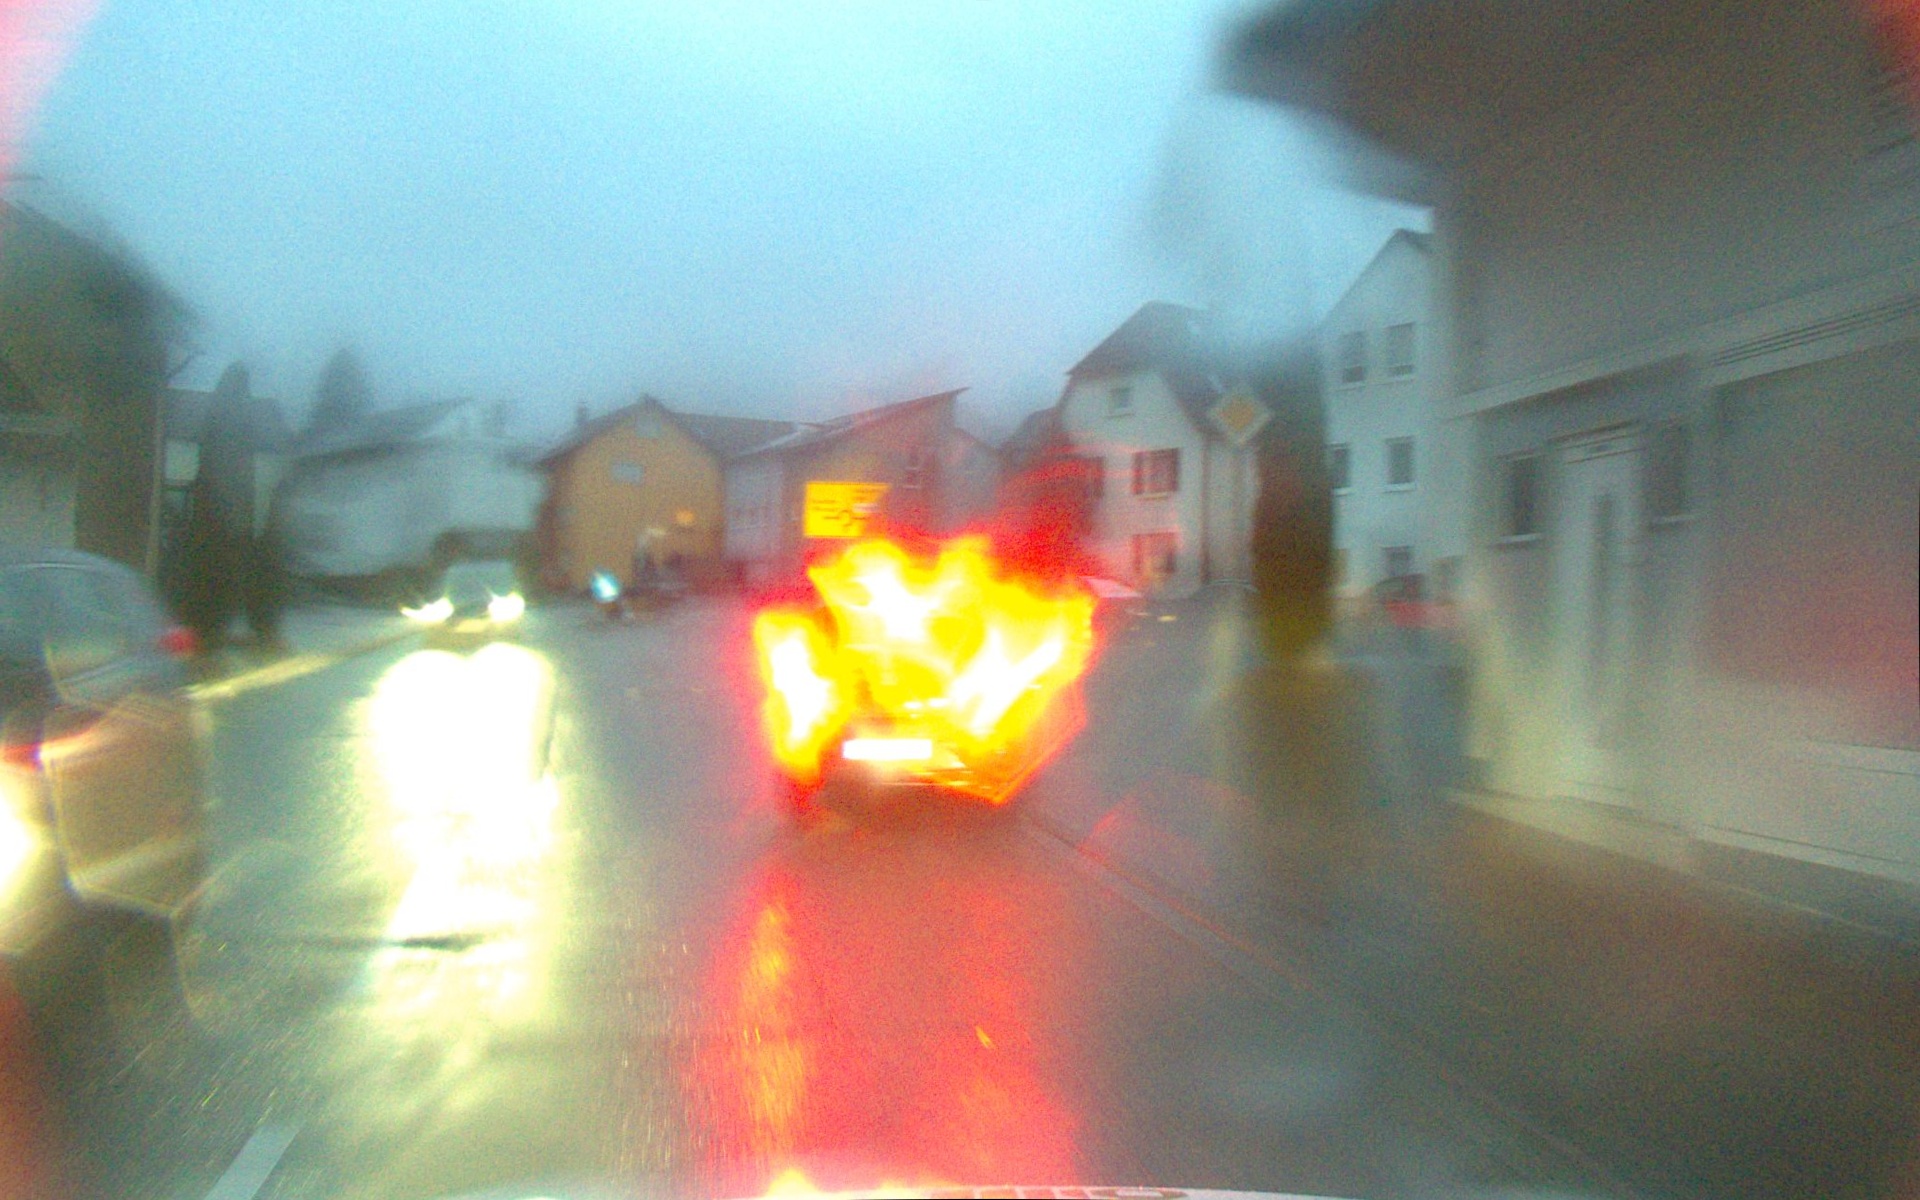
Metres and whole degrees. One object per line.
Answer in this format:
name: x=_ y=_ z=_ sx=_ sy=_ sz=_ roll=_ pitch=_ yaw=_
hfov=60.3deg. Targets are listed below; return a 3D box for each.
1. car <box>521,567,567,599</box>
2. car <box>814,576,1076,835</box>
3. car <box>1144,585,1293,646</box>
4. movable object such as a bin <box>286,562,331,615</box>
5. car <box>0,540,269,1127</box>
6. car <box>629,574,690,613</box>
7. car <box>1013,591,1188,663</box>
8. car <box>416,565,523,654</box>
car: x=-23.797 y=-0.991 z=94.522 sx=1.966 sy=1.672 sz=3.973 roll=2 pitch=1 yaw=-22
car: x=-0.038 y=0.606 z=11.555 sx=1.514 sy=1.491 sz=3.699 roll=1 pitch=0 yaw=2
car: x=7.149 y=0.399 z=46.054 sx=1.797 sy=1.594 sz=3.946 roll=-2 pitch=1 yaw=-38
movable object such as a bin: x=-19.634 y=-0.359 z=49.893 sx=1.077 sy=1.570 sz=1.284 roll=1 pitch=0 yaw=-14
car: x=-3.774 y=0.631 z=5.445 sx=1.843 sy=1.641 sz=4.591 roll=0 pitch=1 yaw=-11
car: x=-14.019 y=-0.340 z=77.064 sx=1.966 sy=1.672 sz=3.973 roll=2 pitch=1 yaw=-22
car: x=3.442 y=0.616 z=41.181 sx=1.797 sy=1.657 sz=4.489 roll=-2 pitch=1 yaw=-38
car: x=-10.091 y=0.146 z=34.259 sx=1.880 sy=1.682 sz=3.986 roll=2 pitch=1 yaw=-14
